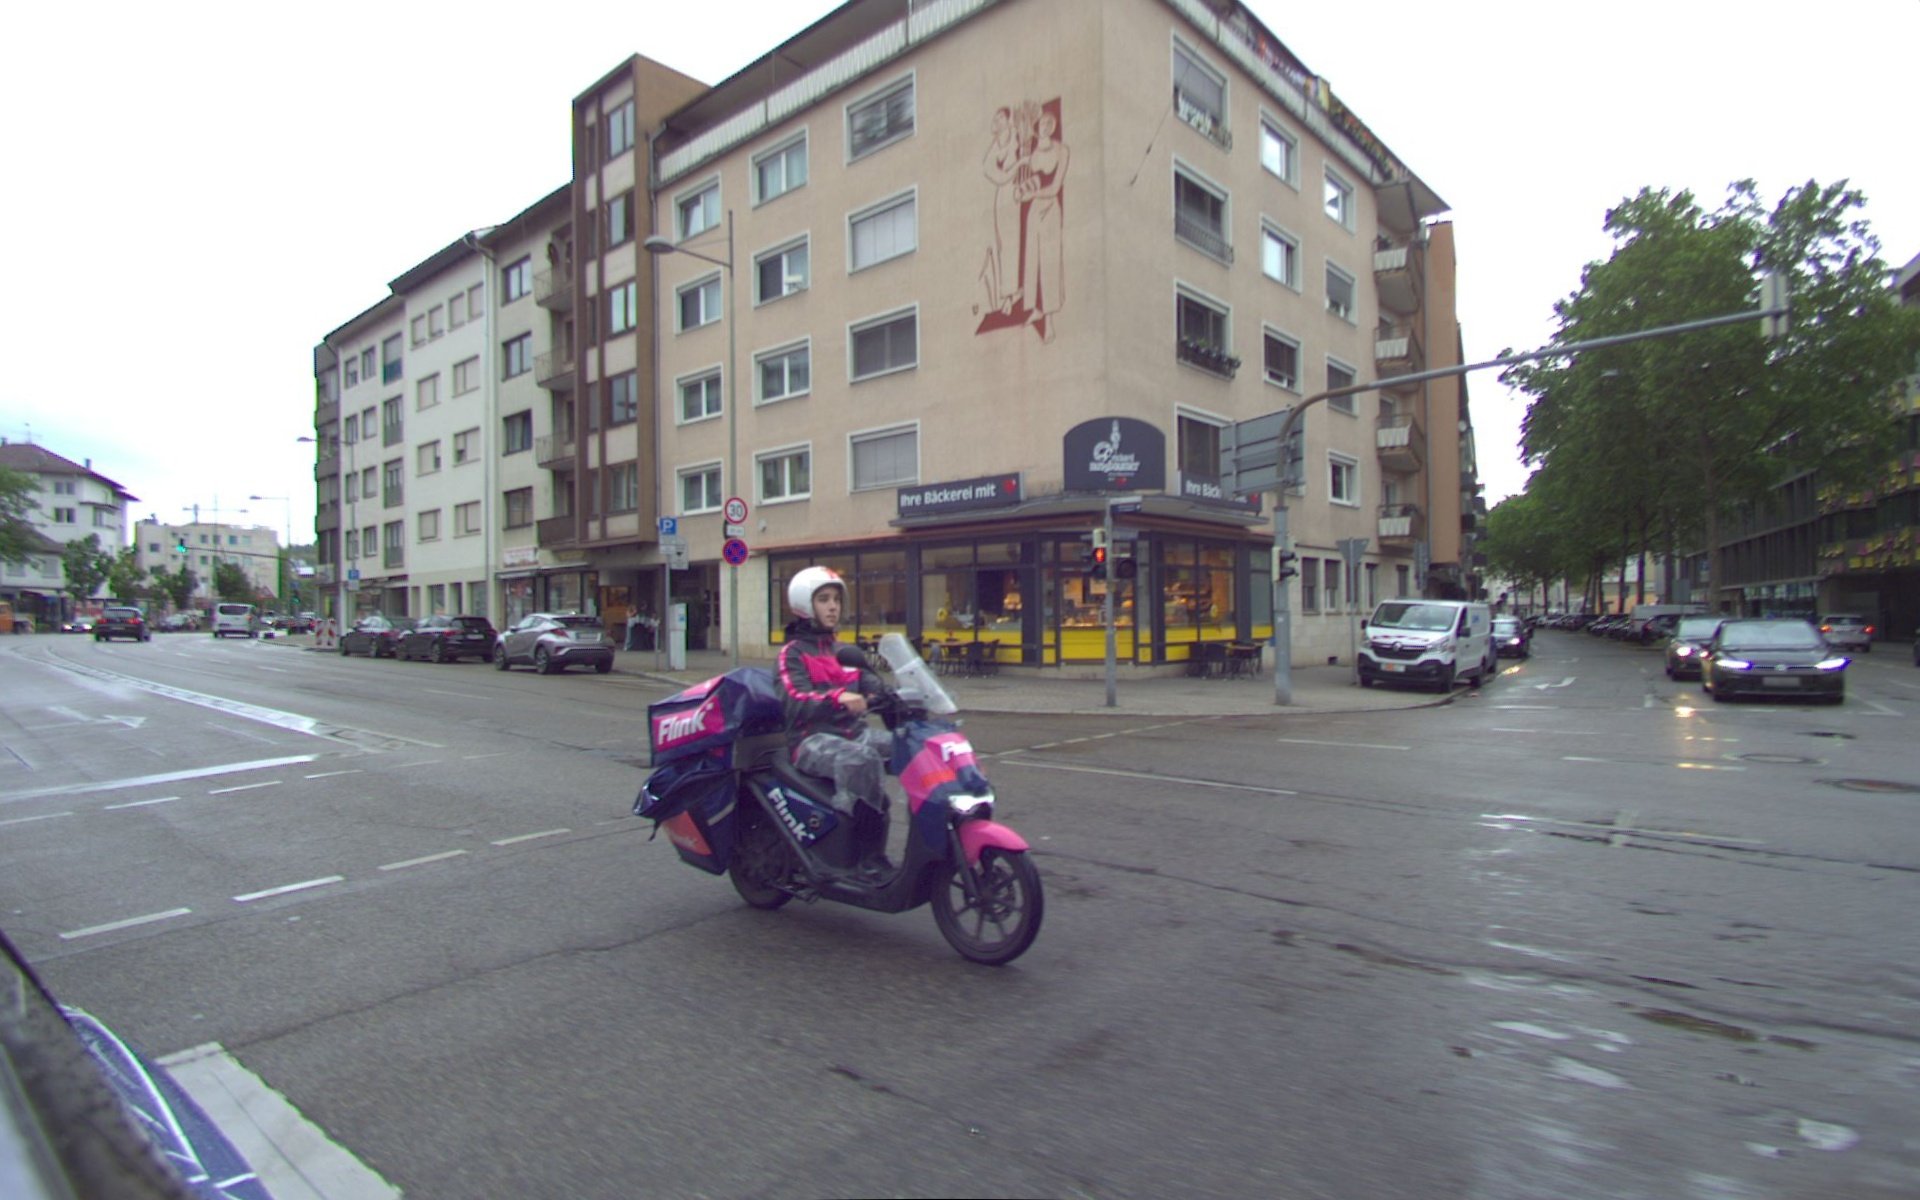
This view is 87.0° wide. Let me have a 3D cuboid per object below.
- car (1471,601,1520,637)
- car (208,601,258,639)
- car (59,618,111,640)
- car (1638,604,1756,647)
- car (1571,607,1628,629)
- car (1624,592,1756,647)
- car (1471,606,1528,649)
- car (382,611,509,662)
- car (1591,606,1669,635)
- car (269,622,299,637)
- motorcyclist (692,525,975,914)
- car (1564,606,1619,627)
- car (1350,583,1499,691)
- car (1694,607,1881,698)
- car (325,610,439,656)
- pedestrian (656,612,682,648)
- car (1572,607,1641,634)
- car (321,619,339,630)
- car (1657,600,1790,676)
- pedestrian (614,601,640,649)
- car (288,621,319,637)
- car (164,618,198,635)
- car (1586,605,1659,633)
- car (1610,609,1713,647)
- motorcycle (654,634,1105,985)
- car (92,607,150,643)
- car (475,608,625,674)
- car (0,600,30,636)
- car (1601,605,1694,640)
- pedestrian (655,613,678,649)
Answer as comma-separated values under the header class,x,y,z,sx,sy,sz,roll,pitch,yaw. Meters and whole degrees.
class,x,y,z,sx,sy,sz,roll,pitch,yaw
car,24.282,0.822,45.873,1.834,1.502,4.221,2,1,28
car,-44.537,1.191,62.055,2.090,2.029,5.144,-3,2,-32
car,-64.090,2.119,74.185,1.812,1.453,4.013,-2,1,-24
car,32.529,1.150,44.810,3.986,1.674,1.871,-3,0,32
car,55.176,1.532,87.398,3.984,1.674,1.872,-3,0,30
car,33.936,0.916,47.224,4.753,2.323,1.871,-3,0,32
car,20.955,1.023,39.319,1.834,1.502,4.221,2,1,28
car,-16.338,1.110,32.048,4.514,1.488,1.973,0,-1,40
car,43.143,1.333,65.269,3.986,1.674,1.871,-3,0,32
car,-69.576,3.021,104.236,1.955,1.470,4.500,2,-2,-26
motorcyclist,-0.550,0.458,4.533,0.862,1.504,0.907,0,0,35
car,55.920,1.478,89.705,3.984,1.674,1.872,-3,0,30
car,10.540,0.737,22.760,2.043,2.118,4.806,2,1,37
car,14.427,0.852,17.909,2.040,1.387,4.291,-3,-2,33
car,-20.421,1.136,35.665,4.975,1.488,1.863,0,-2,40
pedestrian,-9.747,1.001,33.897,0.632,1.157,0.601,0,0,42
car,45.864,1.458,71.872,3.986,1.674,1.871,-3,0,32
car,-92.793,3.636,149.136,1.804,1.555,4.297,1,-2,-27
car,17.792,0.845,23.804,2.040,1.601,4.604,-3,-2,32
pedestrian,-11.266,0.851,34.250,0.666,1.595,0.539,0,0,29
car,-62.760,2.804,96.823,1.698,1.410,3.605,-2,-2,-19
car,-72.824,2.469,94.638,1.783,1.352,4.013,-2,1,-27
car,44.831,1.318,68.556,3.986,1.674,1.871,-3,0,32
car,34.503,1.399,49.929,3.986,1.674,1.871,-3,0,32
motorcycle,-0.437,0.778,4.468,2.097,1.200,0.582,0,0,36
car,-41.036,1.197,49.551,1.837,1.659,4.264,2,-1,-36
car,-10.765,1.008,26.401,4.632,1.566,1.886,0,-1,44
car,-57.474,1.075,59.699,2.162,2.102,5.953,-1,0,-25
car,37.219,1.242,54.937,3.986,1.674,1.871,-3,0,32
pedestrian,-9.620,1.011,33.141,0.663,1.157,0.597,0,0,-20
